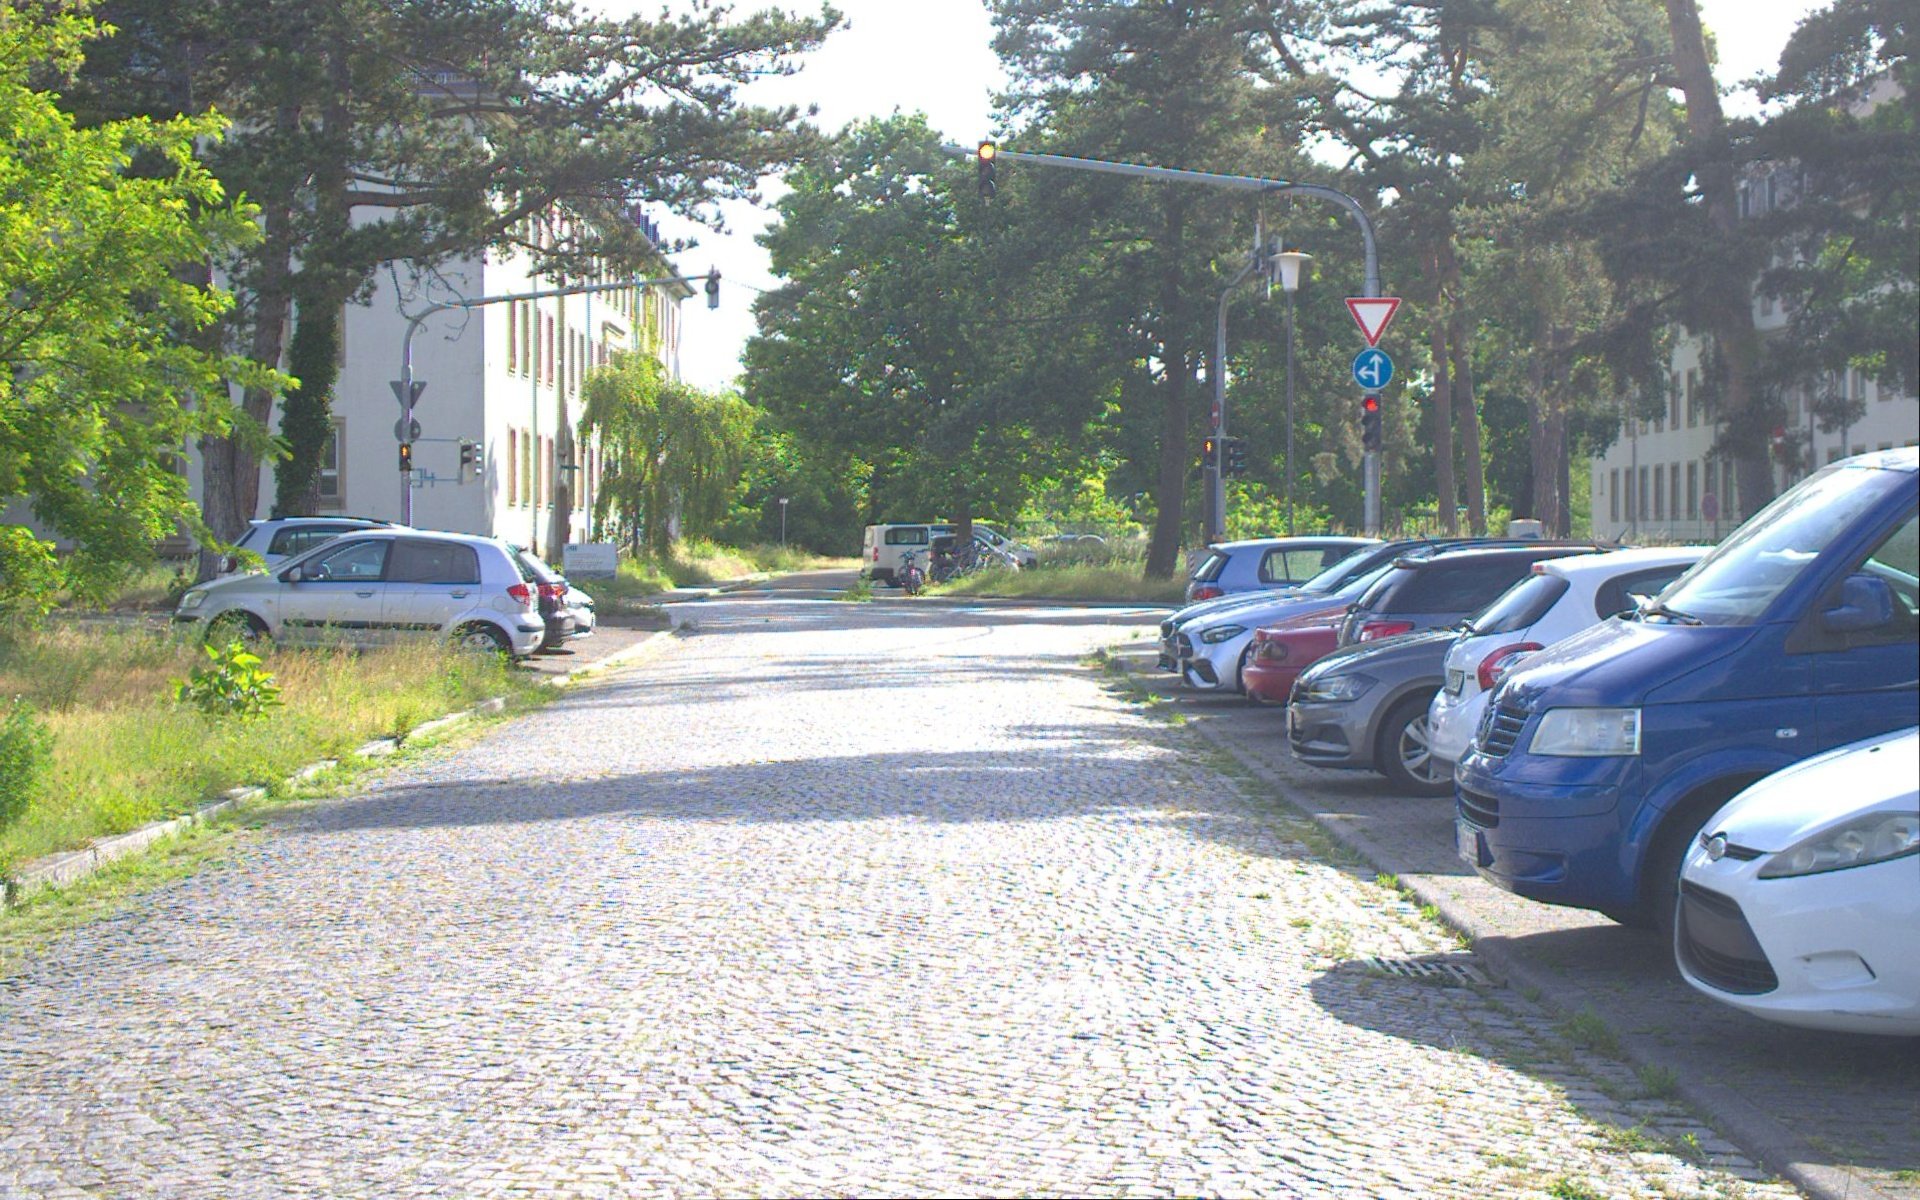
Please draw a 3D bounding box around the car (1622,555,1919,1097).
[{"bbox_3d":[4.063,0.605,10.488,3.718,1.483,1.646,-1,1,-3],"label":"car"}]

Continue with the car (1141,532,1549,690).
[{"bbox_3d":[3.777,0.095,34.149,3.835,1.524,1.646,0,1,-2],"label":"car"}]

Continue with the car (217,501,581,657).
[{"bbox_3d":[-6.694,-0.269,41.357,3.987,1.596,2.000,3,1,-1],"label":"car"}]

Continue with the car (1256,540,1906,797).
[{"bbox_3d":[3.763,0.391,21.229,3.675,1.462,1.646,-1,1,-2],"label":"car"}]

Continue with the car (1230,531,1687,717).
[{"bbox_3d":[4.185,0.183,29.197,3.602,1.524,1.646,0,1,-2],"label":"car"}]

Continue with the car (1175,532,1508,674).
[{"bbox_3d":[4.044,0.014,36.790,3.343,1.477,1.646,0,1,-2],"label":"car"}]

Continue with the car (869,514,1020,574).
[{"bbox_3d":[-0.485,-1.686,103.225,4.480,1.722,2.000,1,1,-1],"label":"car"}]

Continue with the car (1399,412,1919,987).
[{"bbox_3d":[4.195,0.323,13.162,4.676,2.007,2.084,0,1,-3],"label":"car"}]

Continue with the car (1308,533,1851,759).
[{"bbox_3d":[4.292,0.297,24.149,3.478,1.524,1.646,0,1,-2],"label":"car"}]

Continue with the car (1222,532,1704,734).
[{"bbox_3d":[3.873,0.234,26.839,3.478,1.524,1.646,0,1,-2],"label":"car"}]

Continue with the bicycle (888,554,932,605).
[{"bbox_3d":[-1.204,-0.495,82.306,0.804,1.165,2.181,-2,1,-7],"label":"bicycle"}]

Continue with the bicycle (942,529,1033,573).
[{"bbox_3d":[0.690,-1.238,86.929,2.172,1.096,0.807,0,1,-10],"label":"bicycle"}]

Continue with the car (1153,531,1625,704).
[{"bbox_3d":[3.867,0.133,31.378,4.033,1.524,1.646,0,1,-4],"label":"car"}]

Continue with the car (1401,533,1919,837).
[{"bbox_3d":[4.321,0.408,18.343,3.694,1.460,1.645,-2,1,0],"label":"car"}]

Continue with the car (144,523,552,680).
[{"bbox_3d":[-6.339,-0.006,35.972,3.986,1.595,2.000,0,1,-3],"label":"car"}]

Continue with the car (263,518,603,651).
[{"bbox_3d":[-6.656,-0.220,43.760,3.987,1.448,2.000,3,1,-1],"label":"car"}]

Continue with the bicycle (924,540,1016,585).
[{"bbox_3d":[0.254,-0.931,85.765,2.172,1.096,0.807,0,1,-10],"label":"bicycle"}]
